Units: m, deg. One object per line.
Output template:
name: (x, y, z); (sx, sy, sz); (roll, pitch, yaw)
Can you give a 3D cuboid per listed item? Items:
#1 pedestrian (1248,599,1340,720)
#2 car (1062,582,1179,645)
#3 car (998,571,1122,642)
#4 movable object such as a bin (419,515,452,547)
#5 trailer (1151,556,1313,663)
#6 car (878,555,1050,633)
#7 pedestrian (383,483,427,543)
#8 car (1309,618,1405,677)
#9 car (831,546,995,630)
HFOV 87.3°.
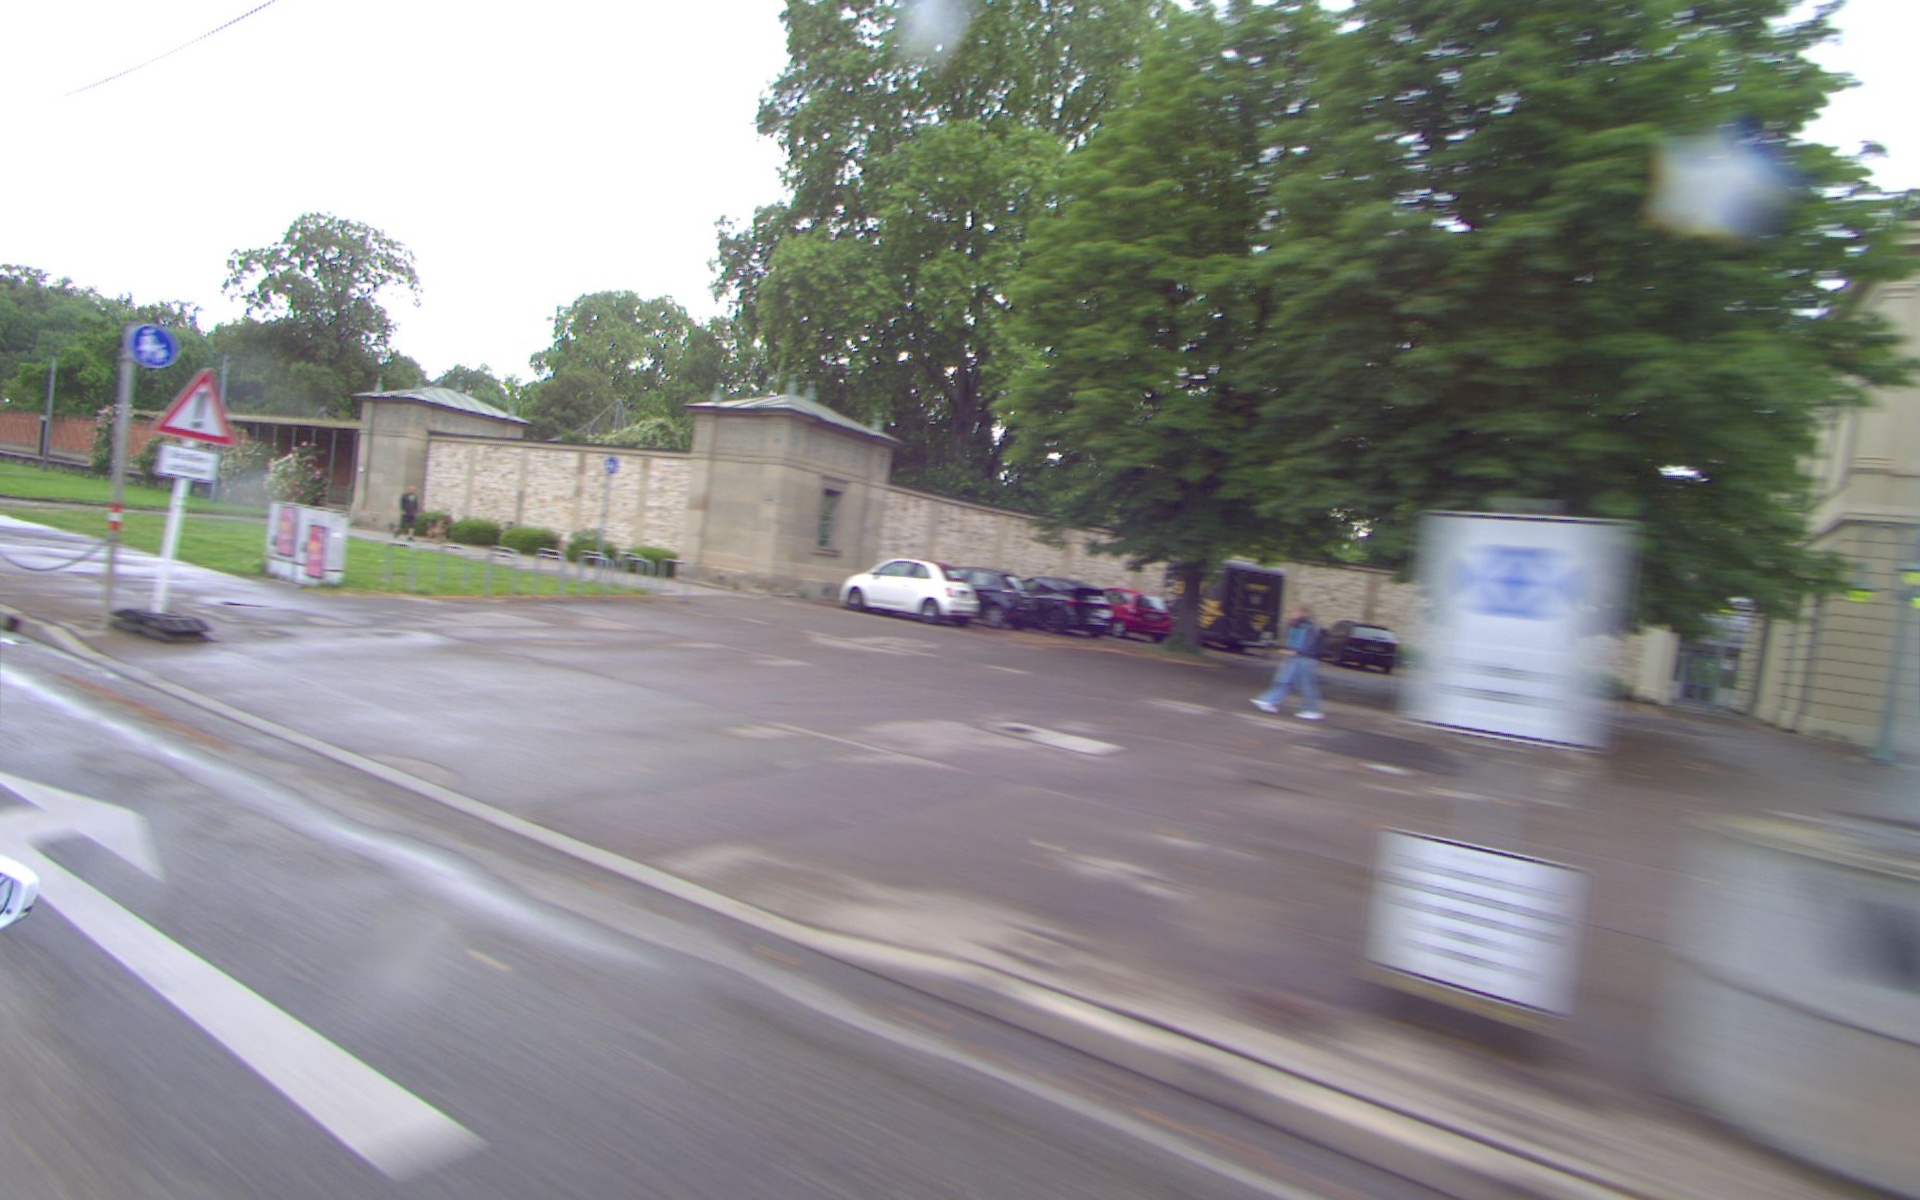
pedestrian: (4.764, 0.848, 14.368); (0.856, 1.612, 0.662); (4, 4, -32)
car: (5.058, 0.390, 32.225); (1.659, 1.461, 4.127); (6, 2, -23)
car: (2.837, 0.129, 29.551); (1.753, 1.548, 4.077); (7, 2, -23)
movable object such as a bin: (-16.429, -2.151, 31.518); (1.172, 0.883, 0.342); (8, 3, 33)
trailer: (8.656, 0.175, 32.740); (2.116, 2.823, 5.630); (6, 2, -17)
car: (0.120, -0.160, 27.177); (4.111, 1.509, 1.898); (8, 3, 21)
pedestrian: (-17.326, -2.711, 31.408); (0.965, 1.733, 0.728); (8, 3, 33)
car: (12.868, 1.483, 32.862); (1.708, 1.426, 4.276); (8, 2, 7)
car: (-1.197, -0.302, 25.144); (3.537, 1.474, 1.837); (11, 4, 32)
